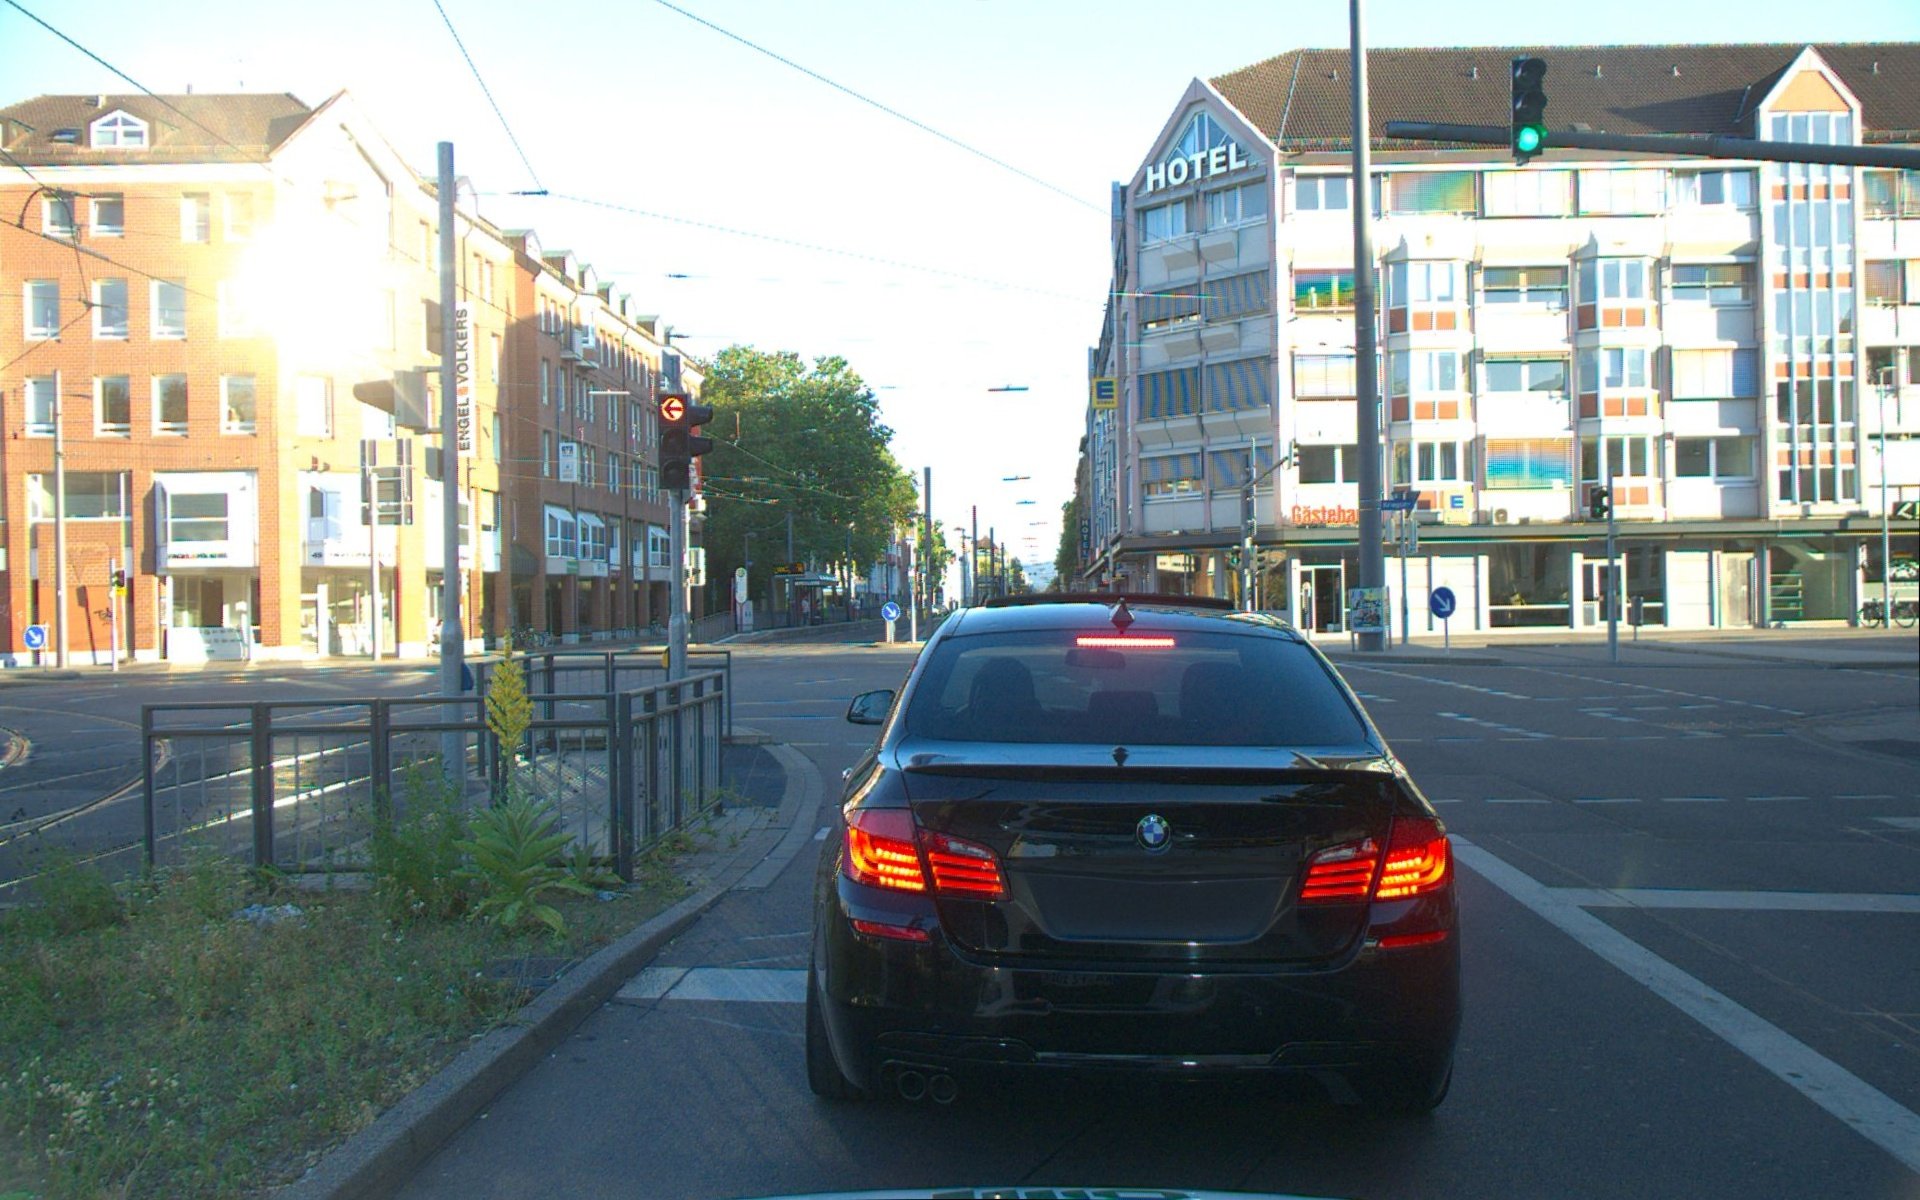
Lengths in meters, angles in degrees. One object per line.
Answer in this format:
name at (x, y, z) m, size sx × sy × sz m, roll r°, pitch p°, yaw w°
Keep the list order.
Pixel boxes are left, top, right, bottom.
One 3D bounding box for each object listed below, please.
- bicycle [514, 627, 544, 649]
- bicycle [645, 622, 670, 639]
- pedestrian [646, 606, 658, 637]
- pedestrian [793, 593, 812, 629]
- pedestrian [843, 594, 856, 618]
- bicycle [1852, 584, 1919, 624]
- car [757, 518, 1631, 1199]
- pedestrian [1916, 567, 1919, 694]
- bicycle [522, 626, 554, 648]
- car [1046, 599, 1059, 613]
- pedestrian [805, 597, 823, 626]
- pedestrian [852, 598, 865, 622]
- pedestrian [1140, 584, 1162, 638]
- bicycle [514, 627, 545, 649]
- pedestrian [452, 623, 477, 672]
bicycle at (-19.004, 1.678, 72.909) m, size 1.263 × 0.938 × 0.348 m, roll 1°, pitch 0°, yaw -13°
bicycle at (-17.344, 1.731, 94.779) m, size 1.387 × 0.938 × 0.402 m, roll 1°, pitch 0°, yaw -11°
pedestrian at (-17.439, 1.222, 93.616) m, size 0.476 × 1.710 × 0.655 m, roll -1°, pitch 0°, yaw 7°
pedestrian at (-8.957, 0.633, 94.099) m, size 0.967 × 2.049 × 0.726 m, roll 0°, pitch 0°, yaw 2°
pedestrian at (-7.789, 0.425, 116.937) m, size 0.708 × 1.710 × 0.992 m, roll -1°, pitch 0°, yaw 5°
bicycle at (31.886, 0.133, 56.544) m, size 2.356 × 1.287 × 0.823 m, roll -1°, pitch 0°, yaw -2°
car at (0.497, 0.625, 5.723) m, size 1.953 × 1.612 × 3.999 m, roll 1°, pitch 0°, yaw -1°
pedestrian at (13.103, 0.405, 21.743) m, size 0.670 × 1.696 × 0.671 m, roll -1°, pitch 0°, yaw 6°
bicycle at (-18.930, 1.666, 74.173) m, size 1.388 × 0.938 × 0.442 m, roll 1°, pitch 0°, yaw -13°
car at (10.891, 0.688, 194.107) m, size 1.442 × 1.541 × 3.097 m, roll -1°, pitch 0°, yaw 2°
pedestrian at (-8.738, 0.672, 99.201) m, size 0.967 × 1.710 × 0.726 m, roll -1°, pitch 0°, yaw 2°
pedestrian at (-7.300, 0.686, 118.895) m, size 0.708 × 1.710 × 0.992 m, roll -1°, pitch 0°, yaw 5°
pedestrian at (6.853, 0.391, 59.299) m, size 0.670 × 1.886 × 0.671 m, roll -1°, pitch 0°, yaw -1°
bicycle at (-18.801, 1.680, 72.265) m, size 1.259 × 0.938 × 0.349 m, roll 1°, pitch 0°, yaw -1°
pedestrian at (-19.729, 1.896, 65.868) m, size 0.620 × 1.900 × 0.677 m, roll 1°, pitch 0°, yaw 29°
